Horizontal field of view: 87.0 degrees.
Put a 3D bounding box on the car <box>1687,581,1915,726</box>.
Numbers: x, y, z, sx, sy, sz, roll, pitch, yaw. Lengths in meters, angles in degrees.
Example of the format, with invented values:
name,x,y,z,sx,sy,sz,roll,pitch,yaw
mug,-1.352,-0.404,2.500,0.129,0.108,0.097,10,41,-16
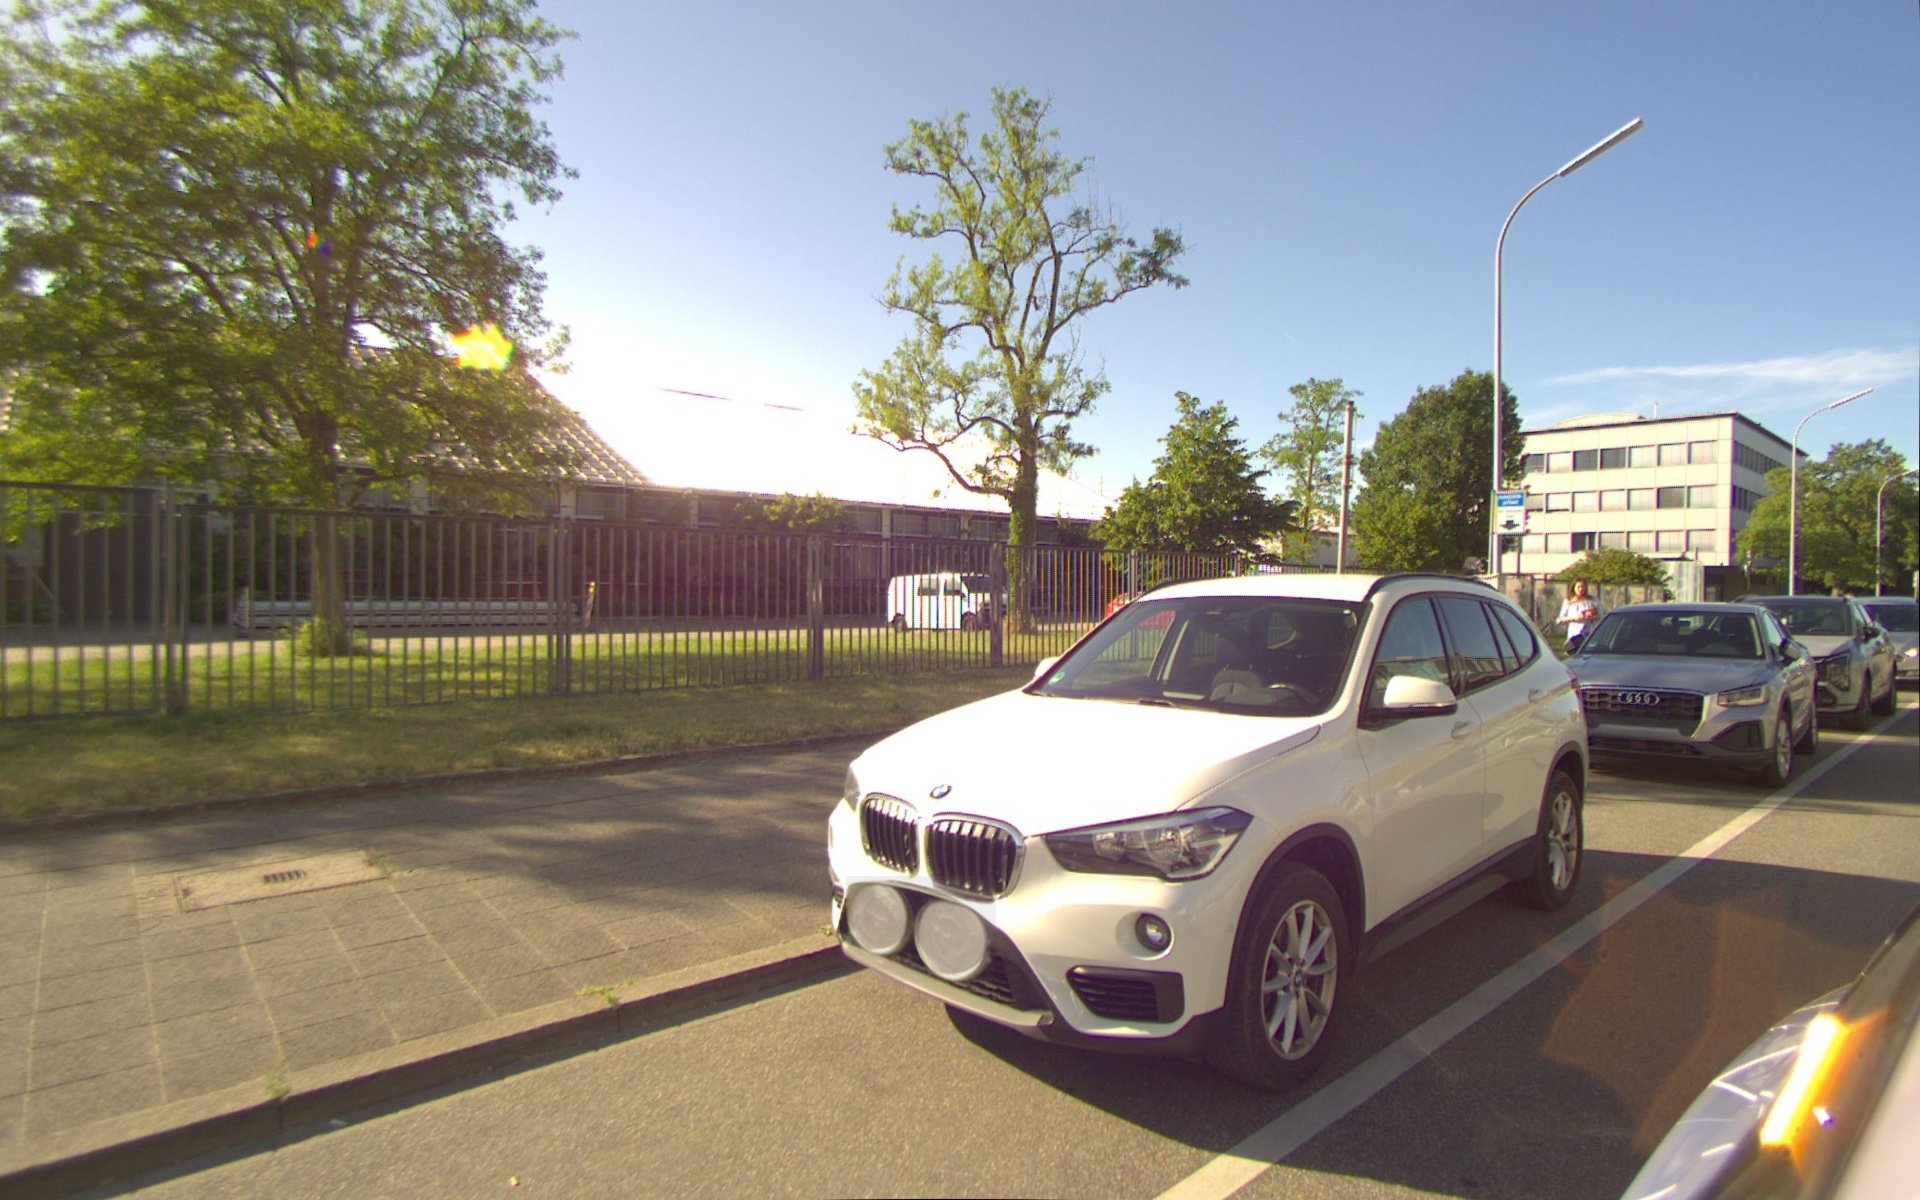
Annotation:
name,x,y,z,sx,sy,sz,roll,pitch,yaw
car,11.235,0.605,13.409,4.277,1.627,1.703,0,0,-42

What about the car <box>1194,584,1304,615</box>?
name,x,y,z,sx,sy,sz,roll,pitch,yaw
car,12.143,-0.003,42.690,1.848,1.268,4.145,0,-1,-44

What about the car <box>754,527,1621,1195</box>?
name,x,y,z,sx,sy,sz,roll,pitch,yaw
car,1.358,0.631,4.562,4.191,1.608,1.814,0,0,-44

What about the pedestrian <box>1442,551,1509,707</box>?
name,x,y,z,sx,sy,sz,roll,pitch,yaw
pedestrian,5.910,0.318,11.603,0.514,1.730,0.520,0,-1,-45

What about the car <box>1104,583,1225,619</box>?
name,x,y,z,sx,sy,sz,roll,pitch,yaw
car,7.522,0.060,37.488,1.798,1.268,4.145,0,-1,-44

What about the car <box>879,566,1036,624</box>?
name,x,y,z,sx,sy,sz,roll,pitch,yaw
car,-0.161,-0.123,31.525,2.061,1.665,4.969,0,-1,-44

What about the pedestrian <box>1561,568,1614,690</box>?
name,x,y,z,sx,sy,sz,roll,pitch,yaw
pedestrian,8.664,0.385,13.987,0.535,1.632,0.677,-1,-1,27

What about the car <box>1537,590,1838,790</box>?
name,x,y,z,sx,sy,sz,roll,pitch,yaw
car,7.030,0.681,9.622,3.915,1.506,1.701,0,0,-45

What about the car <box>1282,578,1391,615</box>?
name,x,y,z,sx,sy,sz,roll,pitch,yaw
car,18.397,-0.188,49.586,4.629,1.689,1.969,2,1,44

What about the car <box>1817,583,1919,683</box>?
name,x,y,z,sx,sy,sz,roll,pitch,yaw
car,18.020,0.573,19.466,4.625,1.744,1.811,0,0,-43

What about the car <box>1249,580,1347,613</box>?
name,x,y,z,sx,sy,sz,roll,pitch,yaw
car,15.176,-0.175,45.558,1.648,1.397,3.891,0,1,-44

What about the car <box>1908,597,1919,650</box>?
name,x,y,z,sx,sy,sz,roll,pitch,yaw
car,29.897,0.682,30.367,4.642,1.529,1.811,0,0,-43
